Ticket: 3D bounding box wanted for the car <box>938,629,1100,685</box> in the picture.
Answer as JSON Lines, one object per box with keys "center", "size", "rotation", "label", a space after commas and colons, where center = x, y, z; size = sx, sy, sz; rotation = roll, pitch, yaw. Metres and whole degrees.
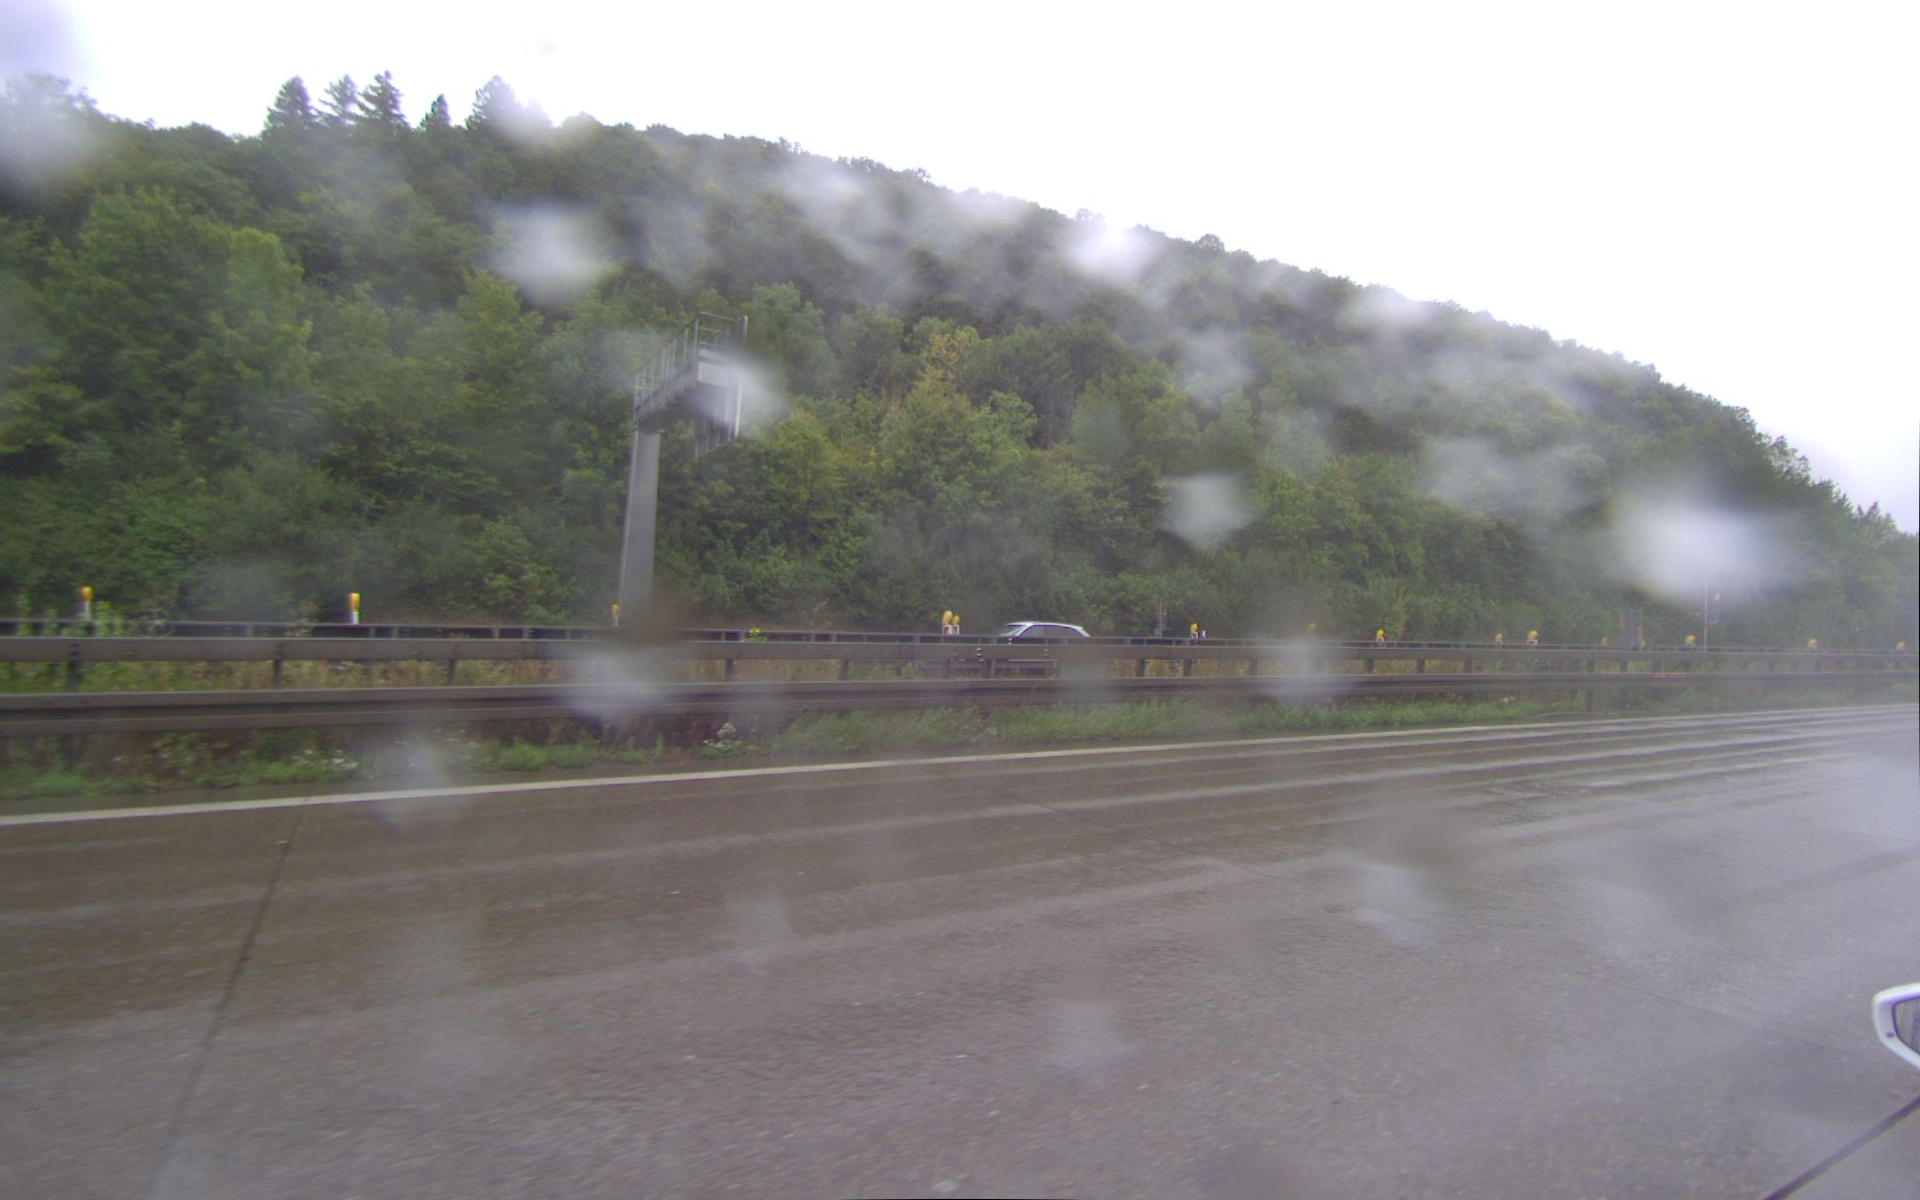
{"center": [1.711, 1.602, 28.492], "size": [4.466, 1.453, 1.658], "rotation": [2, -1, -31], "label": "car"}
